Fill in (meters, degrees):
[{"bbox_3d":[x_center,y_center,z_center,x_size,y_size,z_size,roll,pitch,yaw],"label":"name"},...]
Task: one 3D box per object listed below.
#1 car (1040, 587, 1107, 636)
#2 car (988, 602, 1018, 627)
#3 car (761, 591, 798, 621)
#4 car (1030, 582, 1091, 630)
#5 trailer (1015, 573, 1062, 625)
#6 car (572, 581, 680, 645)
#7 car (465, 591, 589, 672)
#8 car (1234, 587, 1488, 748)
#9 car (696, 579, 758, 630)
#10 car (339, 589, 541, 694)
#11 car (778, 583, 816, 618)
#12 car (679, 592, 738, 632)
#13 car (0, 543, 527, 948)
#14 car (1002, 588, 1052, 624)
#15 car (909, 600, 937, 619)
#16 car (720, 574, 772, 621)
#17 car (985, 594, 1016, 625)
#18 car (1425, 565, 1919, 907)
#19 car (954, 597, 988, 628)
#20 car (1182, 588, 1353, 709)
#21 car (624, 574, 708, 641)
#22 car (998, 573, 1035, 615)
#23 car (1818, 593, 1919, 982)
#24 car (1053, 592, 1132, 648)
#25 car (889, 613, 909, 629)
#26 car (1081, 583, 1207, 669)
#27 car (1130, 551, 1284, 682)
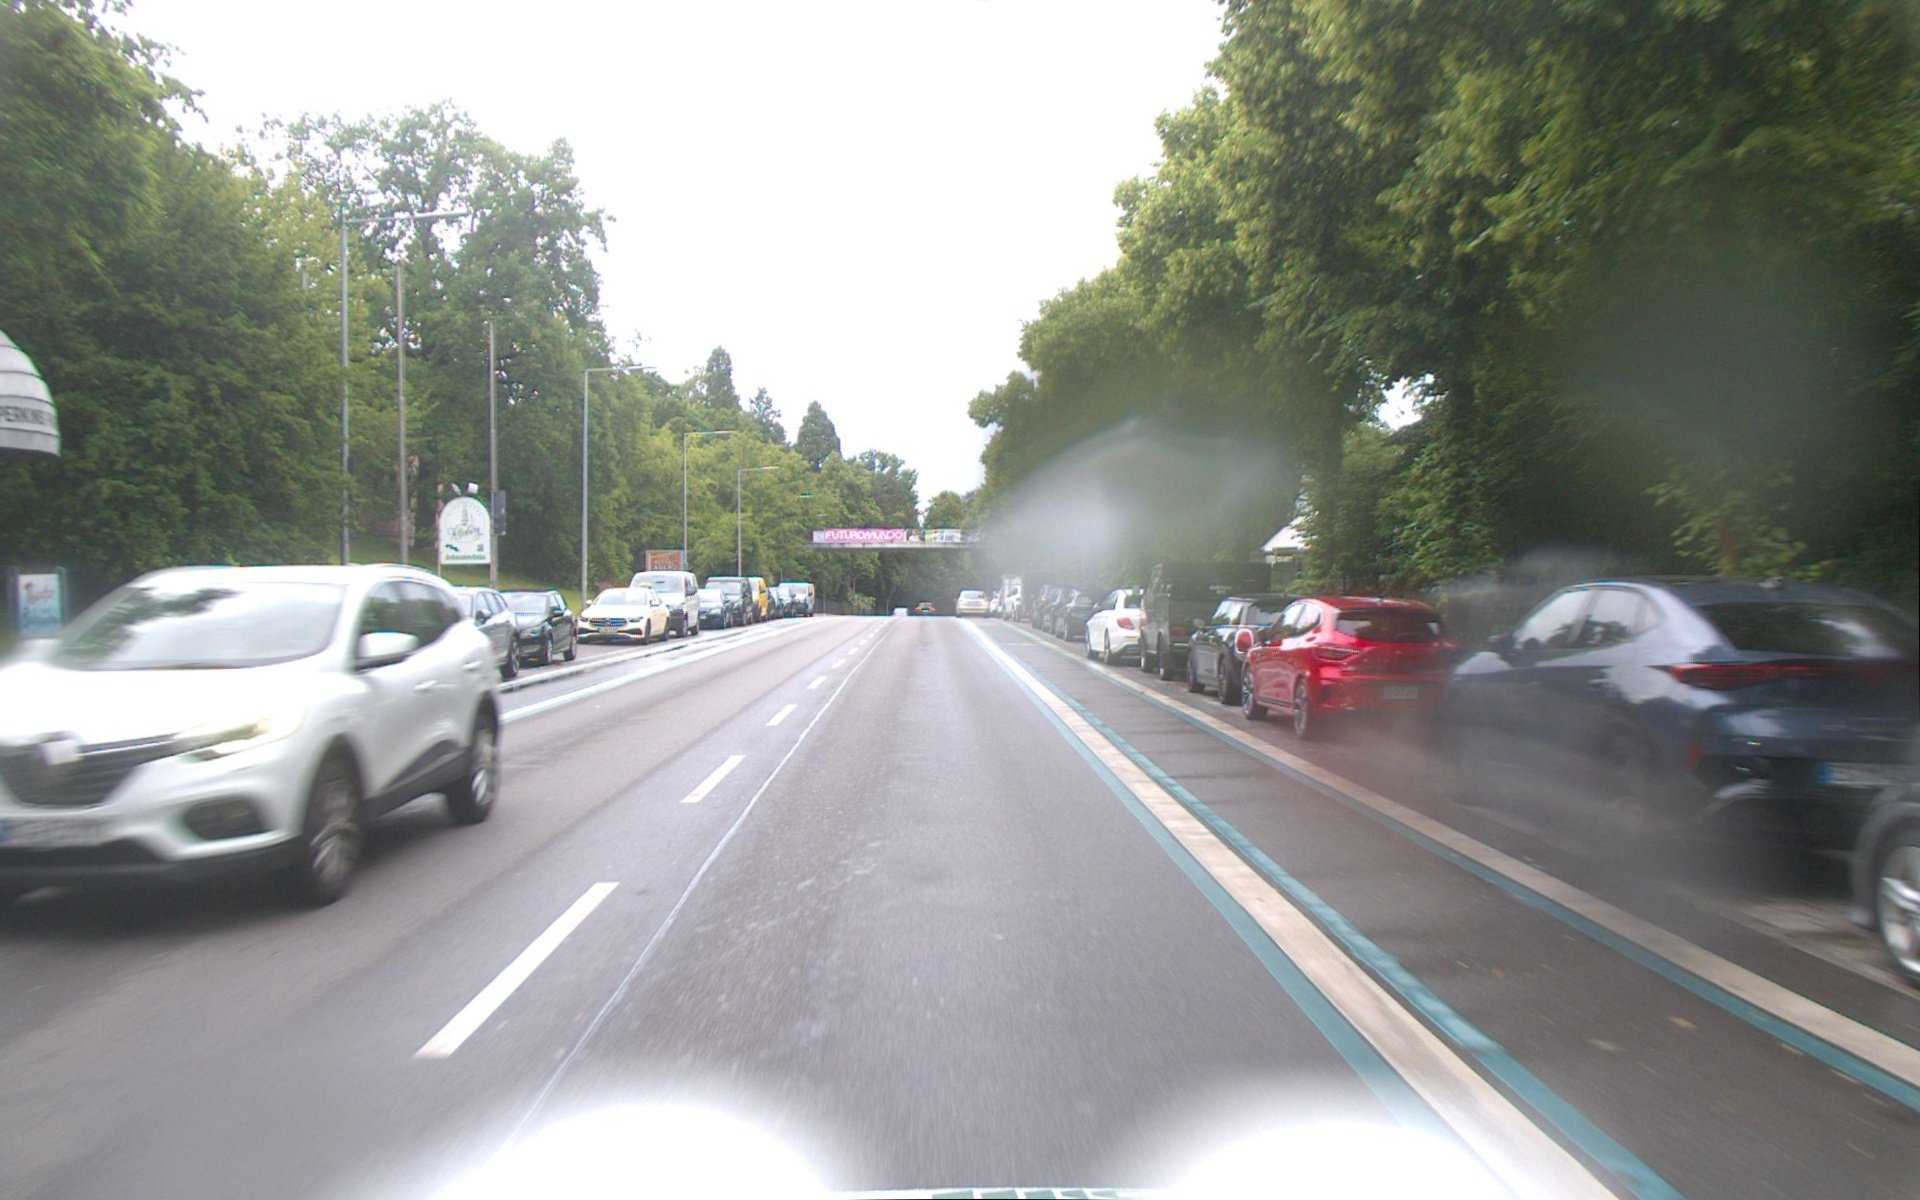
[{"bbox_3d":[3.661,0.336,54.128,1.696,1.489,4.070,1,1,-3],"label":"car"},{"bbox_3d":[2.617,0.855,100.565,1.695,1.488,4.045,0,0,0],"label":"car"},{"bbox_3d":[-9.798,0.302,90.086,1.833,1.569,4.051,0,1,-4],"label":"car"},{"bbox_3d":[3.576,0.198,59.604,1.696,1.611,4.152,2,0,-3],"label":"car"},{"bbox_3d":[3.383,-0.055,71.800,1.845,2.204,3.807,0,0,-1],"label":"trailer"},{"bbox_3d":[-9.030,0.308,45.139,1.949,1.633,4.984,0,1,0],"label":"car"},{"bbox_3d":[-8.581,0.577,33.087,1.662,1.462,4.051,0,1,-4],"label":"car"},{"bbox_3d":[4.191,0.633,17.955,1.652,1.478,4.165,2,1,-1],"label":"car"},{"bbox_3d":[-9.428,0.143,67.331,1.950,1.980,5.140,0,1,-2],"label":"car"},{"bbox_3d":[-8.188,0.589,26.496,2.036,1.508,4.669,0,1,-4],"label":"car"},{"bbox_3d":[-9.611,0.022,97.531,1.721,1.965,4.194,0,1,1],"label":"car"},{"bbox_3d":[-9.374,0.422,61.870,1.696,1.414,4.369,0,1,-2],"label":"car"},{"bbox_3d":[-3.786,0.598,9.030,1.759,1.680,4.128,-1,1,-1],"label":"car"},{"bbox_3d":[3.052,0.260,75.907,1.697,1.611,4.149,0,0,-6],"label":"car"},{"bbox_3d":[-3.206,0.820,142.890,2.098,1.518,4.494,0,0,-5],"label":"car"},{"bbox_3d":[-9.486,-0.139,73.588,1.845,1.979,4.824,0,1,-3],"label":"car"},{"bbox_3d":[2.286,0.533,93.986,1.695,1.713,4.045,0,0,0],"label":"car"},{"bbox_3d":[4.415,0.643,10.214,1.720,1.617,4.498,2,1,-1],"label":"car"},{"bbox_3d":[0.567,0.670,88.961,1.696,1.611,4.035,0,0,-2],"label":"car"},{"bbox_3d":[4.155,0.604,22.843,1.573,1.478,3.746,2,1,-1],"label":"car"},{"bbox_3d":[-9.083,0.186,51.415,1.874,1.965,4.926,0,1,-2],"label":"car"},{"bbox_3d":[3.015,-0.341,88.544,1.850,2.164,4.045,0,0,0],"label":"car"},{"bbox_3d":[4.601,0.758,4.976,1.653,1.481,4.143,2,1,-4],"label":"car"},{"bbox_3d":[3.773,0.541,47.683,1.696,1.489,4.275,1,1,-3],"label":"car"},{"bbox_3d":[-6.081,2.091,164.981,1.832,1.499,4.050,0,-1,-4],"label":"car"},{"bbox_3d":[3.650,0.475,33.612,1.753,1.570,4.887,2,0,-3],"label":"car"},{"bbox_3d":[4.170,0.242,28.664,1.887,2.057,4.663,1,1,-1],"label":"car"}]
